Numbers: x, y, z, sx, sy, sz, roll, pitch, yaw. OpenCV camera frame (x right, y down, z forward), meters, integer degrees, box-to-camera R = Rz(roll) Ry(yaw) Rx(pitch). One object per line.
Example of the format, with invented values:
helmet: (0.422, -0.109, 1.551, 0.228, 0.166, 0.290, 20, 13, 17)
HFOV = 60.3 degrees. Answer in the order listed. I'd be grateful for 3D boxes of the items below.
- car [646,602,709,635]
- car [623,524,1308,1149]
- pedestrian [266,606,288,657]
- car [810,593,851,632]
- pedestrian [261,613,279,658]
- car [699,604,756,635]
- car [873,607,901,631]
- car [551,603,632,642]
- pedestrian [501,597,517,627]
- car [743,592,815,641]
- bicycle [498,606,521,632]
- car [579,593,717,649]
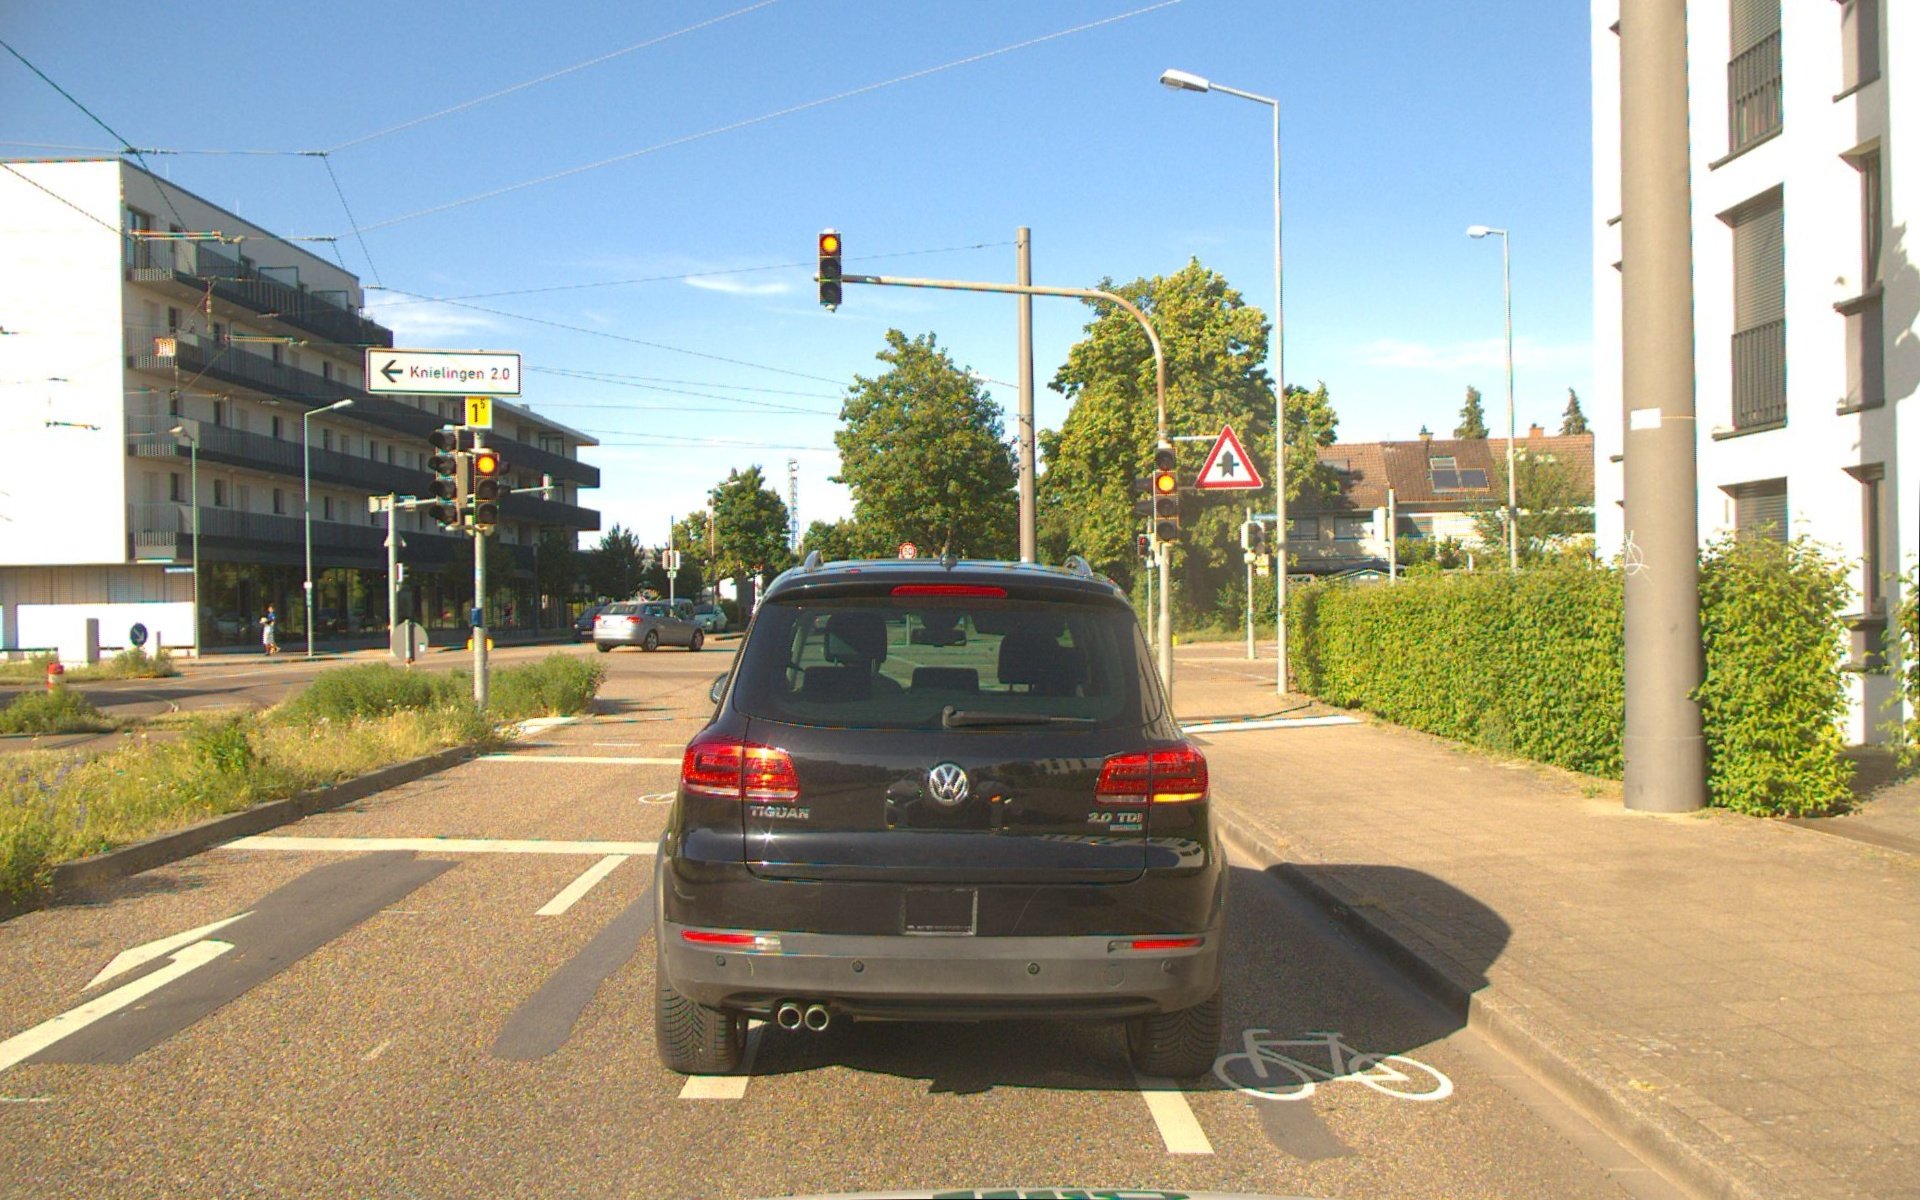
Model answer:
car: (-13.960, 0.903, 81.966, 1.951, 1.601, 4.342, 1, 0, 7)
car: (-0.008, 0.652, 6.484, 1.831, 1.666, 3.999, 1, 0, -1)
pedestrian: (-23.909, 1.104, 57.891, 0.532, 1.774, 0.517, 1, -1, -6)
car: (-6.544, 0.631, 83.957, 1.954, 1.869, 3.998, 1, 0, -3)
pedestrian: (-23.919, 1.229, 57.331, 0.433, 1.529, 0.517, 1, -1, -6)
car: (-12.240, 1.017, 87.361, 1.951, 1.601, 4.342, 1, 0, 7)
car: (-5.363, 1.392, 122.020, 1.953, 1.713, 3.998, 1, 0, -2)
car: (-15.828, 0.946, 71.325, 1.951, 1.601, 4.343, 1, 0, 9)
pedestrian: (-23.317, 0.617, 85.447, 0.629, 1.535, 0.596, 1, -1, 2)
car: (-6.618, 0.585, 60.912, 1.824, 1.750, 3.689, -1, 0, 7)
bicycle: (-23.303, 0.980, 85.616, 0.617, 1.355, 1.913, 1, 0, 1)
car: (-8.967, 0.577, 47.884, 1.827, 1.511, 4.106, -1, 0, 26)
